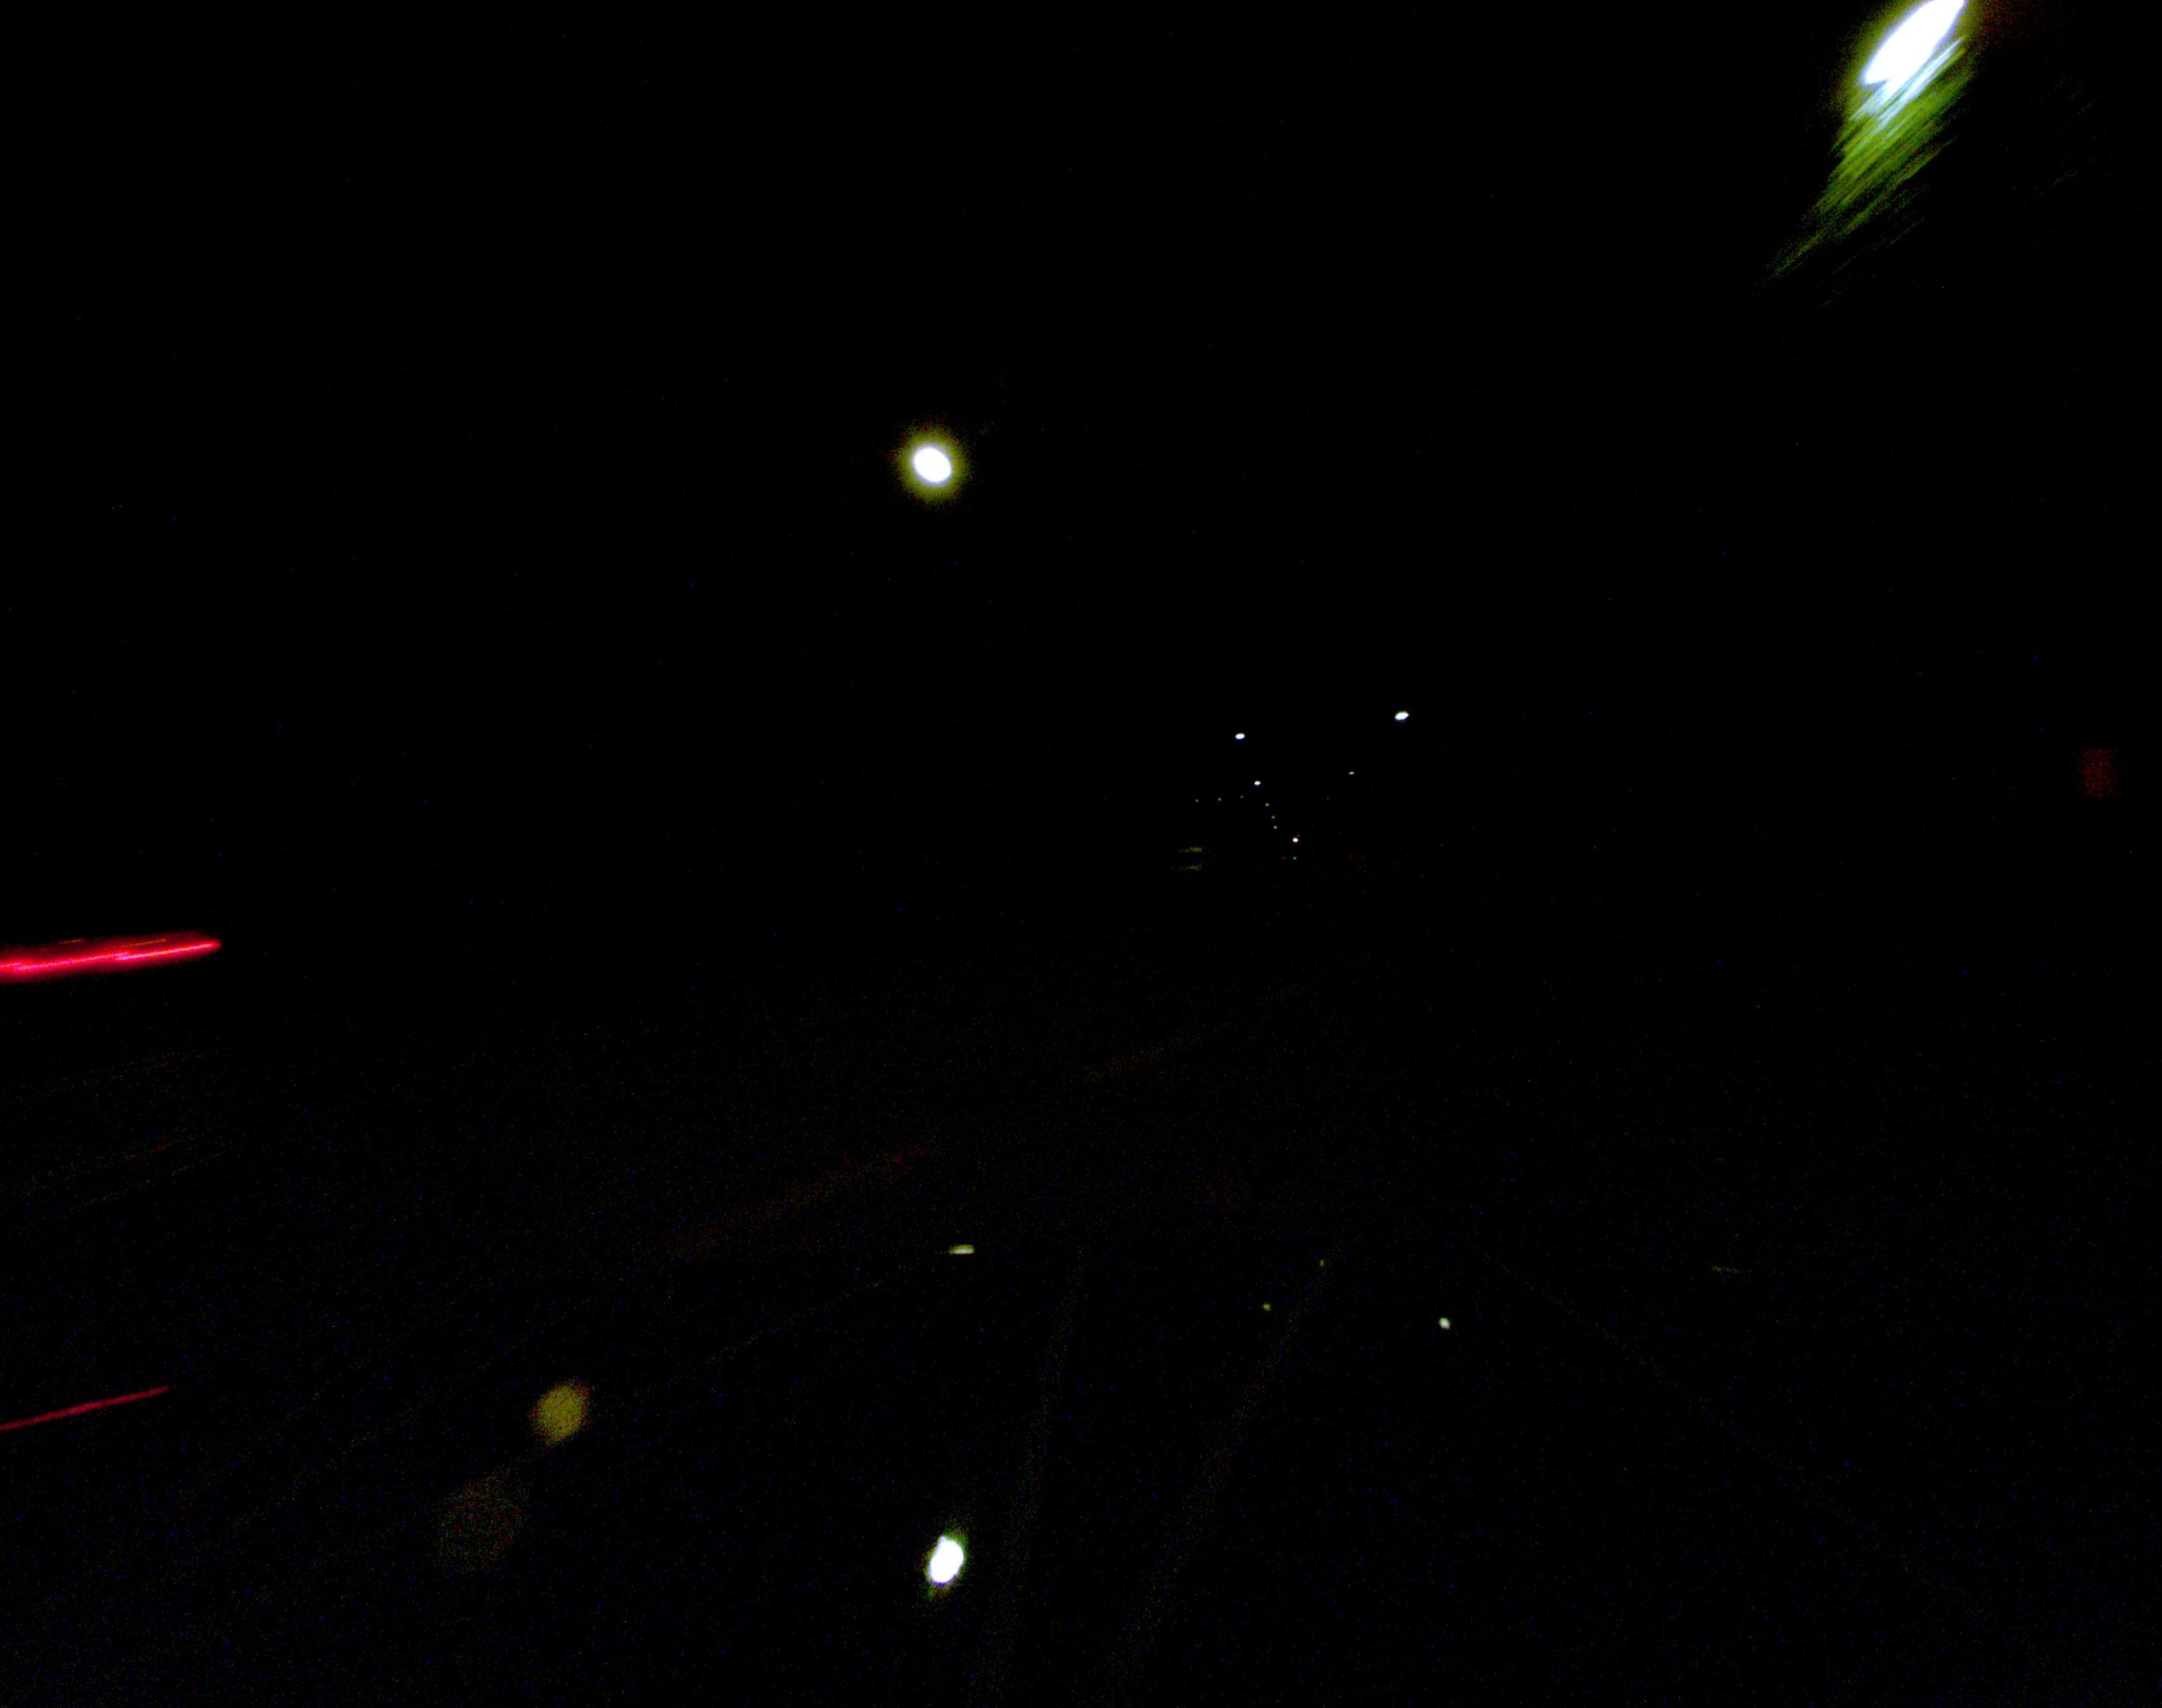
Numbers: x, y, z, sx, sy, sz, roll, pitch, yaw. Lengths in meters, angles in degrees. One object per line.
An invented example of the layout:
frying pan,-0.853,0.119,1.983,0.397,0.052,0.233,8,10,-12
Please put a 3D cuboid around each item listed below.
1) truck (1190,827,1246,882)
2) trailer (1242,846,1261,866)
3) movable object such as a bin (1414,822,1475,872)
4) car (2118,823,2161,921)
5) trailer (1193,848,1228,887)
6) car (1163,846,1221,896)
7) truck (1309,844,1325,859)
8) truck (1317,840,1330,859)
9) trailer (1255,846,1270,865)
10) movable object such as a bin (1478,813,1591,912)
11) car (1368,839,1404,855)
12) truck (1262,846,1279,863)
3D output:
truck,11.187,0.047,61.139,3.329,3.845,9.338,-5,-1,15
trailer,24.268,0.268,107.937,1.996,2.634,4.006,-5,-2,18
movable object such as a bin,19.165,-0.330,40.149,1.553,2.453,2.839,-3,0,-5
car,28.855,0.403,18.470,1.996,2.538,4.490,-5,-2,20
trailer,9.020,0.945,52.648,1.634,2.458,5.034,-5,-2,16
car,6.549,0.948,44.110,2.111,2.500,6.380,-5,-2,18
truck,64.714,-0.574,208.472,2.826,3.609,10.413,-5,-2,12
truck,57.871,-1.063,181.324,2.641,4.289,12.840,-2,0,18
trailer,33.902,0.254,141.976,2.402,3.305,4.367,-5,-2,13
movable object such as a bin,13.438,0.274,22.757,1.573,2.717,3.704,-1,-1,9
car,43.668,-1.001,108.761,4.439,1.960,2.003,-5,-2,15
truck,48.123,0.100,192.486,2.513,3.813,12.677,-5,-2,20
